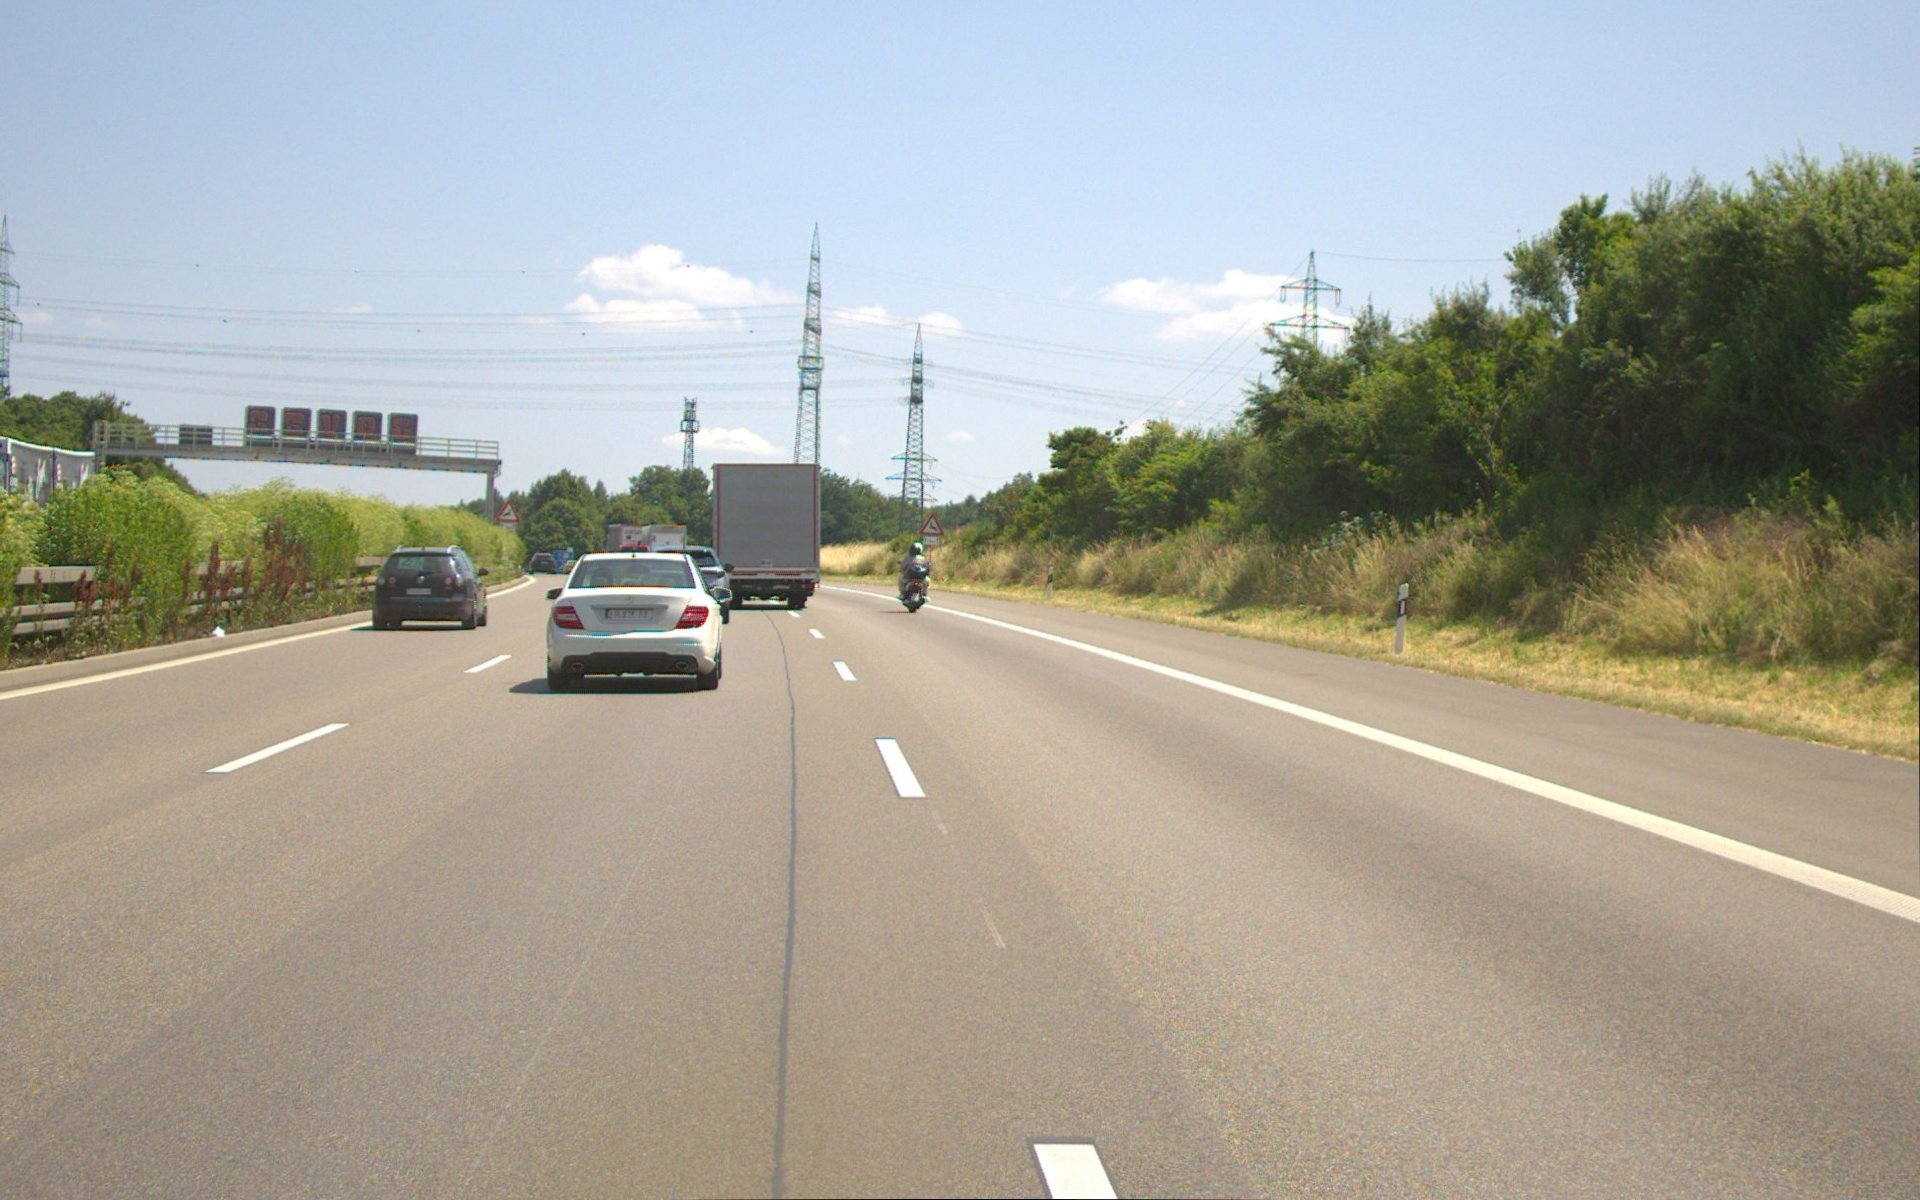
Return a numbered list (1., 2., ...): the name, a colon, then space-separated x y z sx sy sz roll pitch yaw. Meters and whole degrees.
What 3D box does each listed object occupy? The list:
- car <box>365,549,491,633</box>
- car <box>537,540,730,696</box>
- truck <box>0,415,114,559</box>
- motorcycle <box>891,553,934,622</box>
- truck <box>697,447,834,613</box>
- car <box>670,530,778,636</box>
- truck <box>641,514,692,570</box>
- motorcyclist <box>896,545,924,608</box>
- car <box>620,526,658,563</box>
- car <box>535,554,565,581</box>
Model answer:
1. car: -9.473 -0.189 61.472 1.756 1.424 4.001 0 1 -2
2. car: -3.396 0.148 36.340 1.819 1.535 3.915 0 1 -2
3. truck: -26.388 -3.114 94.459 3.229 3.599 18.535 3 1 -5
4. motorcycle: -1.133 -0.305 81.723 0.809 1.602 1.783 1 1 -7
5. truck: -4.930 -1.720 86.500 3.220 3.911 9.062 1 1 -4
6. car: -4.675 -0.366 67.588 1.993 2.007 4.001 0 1 -6
7. truck: -21.040 -4.160 246.204 3.483 3.899 7.291 1 1 -6
8. motorcyclist: -1.192 -0.565 81.664 0.572 1.474 0.701 0 1 -7
9. car: -17.111 -2.951 183.199 1.901 1.919 4.001 0 1 -4
10. car: -28.803 -2.306 241.745 1.993 1.853 4.001 0 1 -5
